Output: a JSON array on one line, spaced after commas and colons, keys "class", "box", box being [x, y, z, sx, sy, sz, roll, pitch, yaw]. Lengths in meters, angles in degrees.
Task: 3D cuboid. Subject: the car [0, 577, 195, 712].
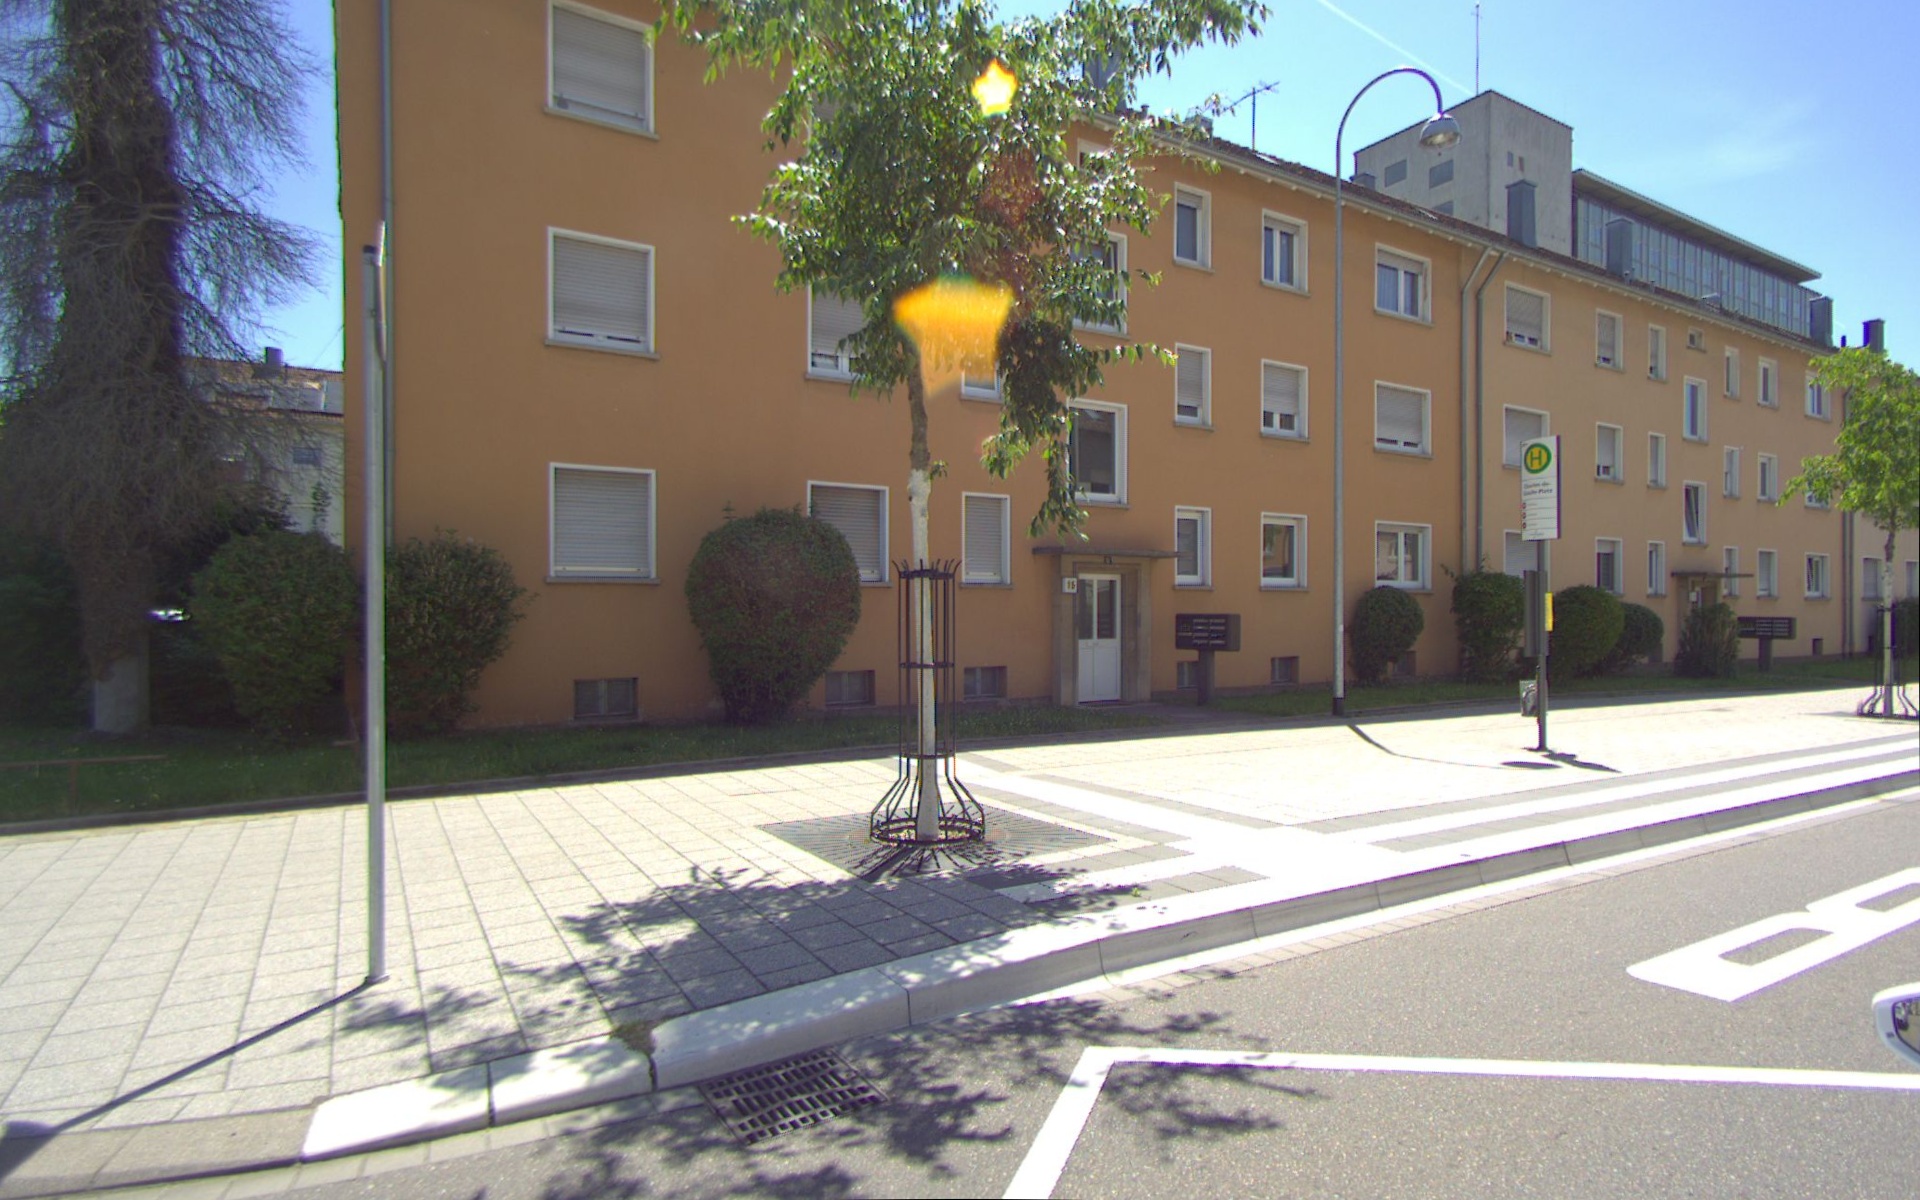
[{"class": "car", "box": [-14.816, 0.730, 17.202, 1.974, 2.040, 3.974, 0, -2, -26]}]

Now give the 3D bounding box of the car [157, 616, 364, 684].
[{"class": "car", "box": [-16.841, 1.144, 24.312, 3.963, 1.524, 1.979, 1, -1, -37]}]
